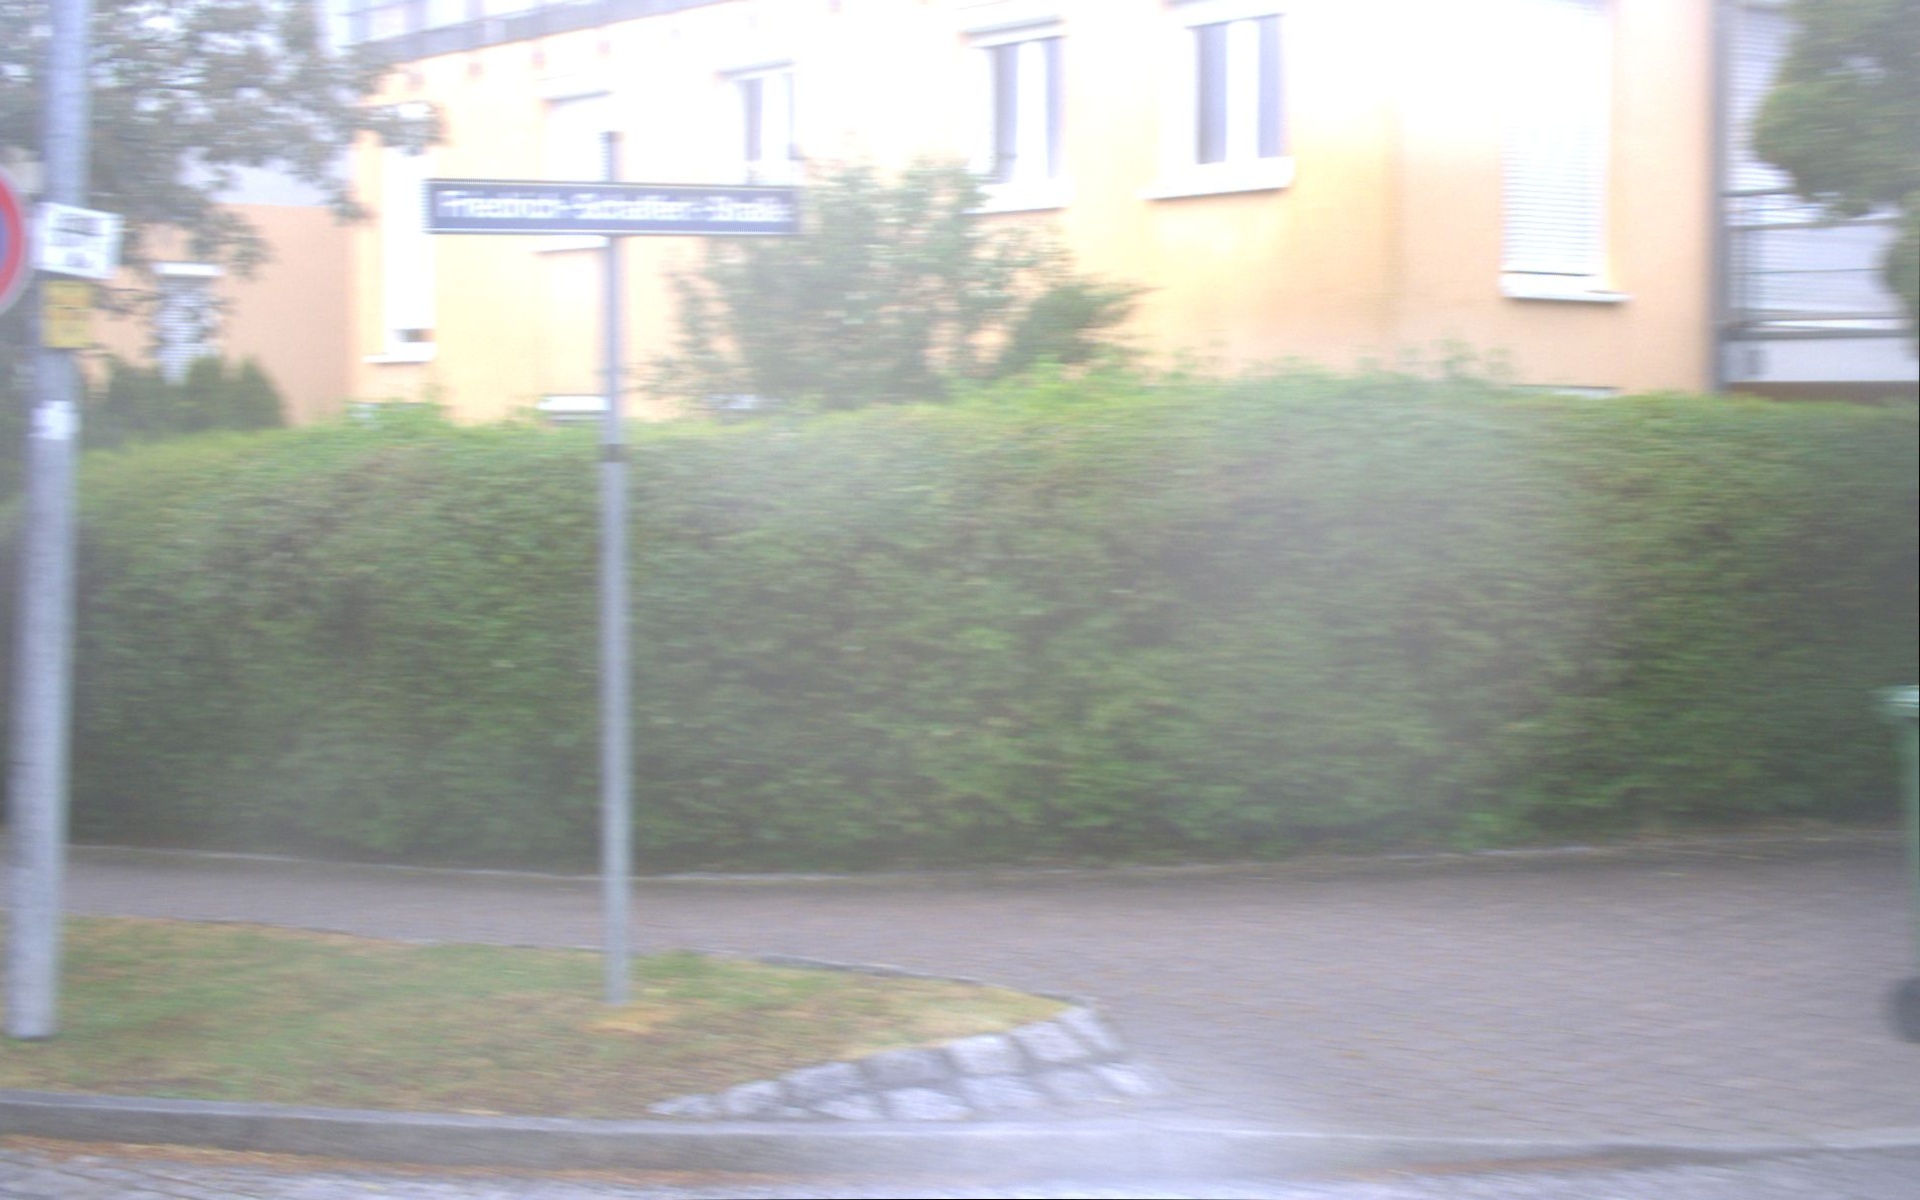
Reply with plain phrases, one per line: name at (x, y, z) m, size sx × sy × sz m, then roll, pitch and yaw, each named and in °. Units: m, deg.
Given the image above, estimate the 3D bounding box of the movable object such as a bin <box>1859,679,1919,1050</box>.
movable object such as a bin at (3.097, 0.780, 10.151) m, size 0.667 × 1.070 × 0.542 m, roll 1°, pitch 1°, yaw 44°
